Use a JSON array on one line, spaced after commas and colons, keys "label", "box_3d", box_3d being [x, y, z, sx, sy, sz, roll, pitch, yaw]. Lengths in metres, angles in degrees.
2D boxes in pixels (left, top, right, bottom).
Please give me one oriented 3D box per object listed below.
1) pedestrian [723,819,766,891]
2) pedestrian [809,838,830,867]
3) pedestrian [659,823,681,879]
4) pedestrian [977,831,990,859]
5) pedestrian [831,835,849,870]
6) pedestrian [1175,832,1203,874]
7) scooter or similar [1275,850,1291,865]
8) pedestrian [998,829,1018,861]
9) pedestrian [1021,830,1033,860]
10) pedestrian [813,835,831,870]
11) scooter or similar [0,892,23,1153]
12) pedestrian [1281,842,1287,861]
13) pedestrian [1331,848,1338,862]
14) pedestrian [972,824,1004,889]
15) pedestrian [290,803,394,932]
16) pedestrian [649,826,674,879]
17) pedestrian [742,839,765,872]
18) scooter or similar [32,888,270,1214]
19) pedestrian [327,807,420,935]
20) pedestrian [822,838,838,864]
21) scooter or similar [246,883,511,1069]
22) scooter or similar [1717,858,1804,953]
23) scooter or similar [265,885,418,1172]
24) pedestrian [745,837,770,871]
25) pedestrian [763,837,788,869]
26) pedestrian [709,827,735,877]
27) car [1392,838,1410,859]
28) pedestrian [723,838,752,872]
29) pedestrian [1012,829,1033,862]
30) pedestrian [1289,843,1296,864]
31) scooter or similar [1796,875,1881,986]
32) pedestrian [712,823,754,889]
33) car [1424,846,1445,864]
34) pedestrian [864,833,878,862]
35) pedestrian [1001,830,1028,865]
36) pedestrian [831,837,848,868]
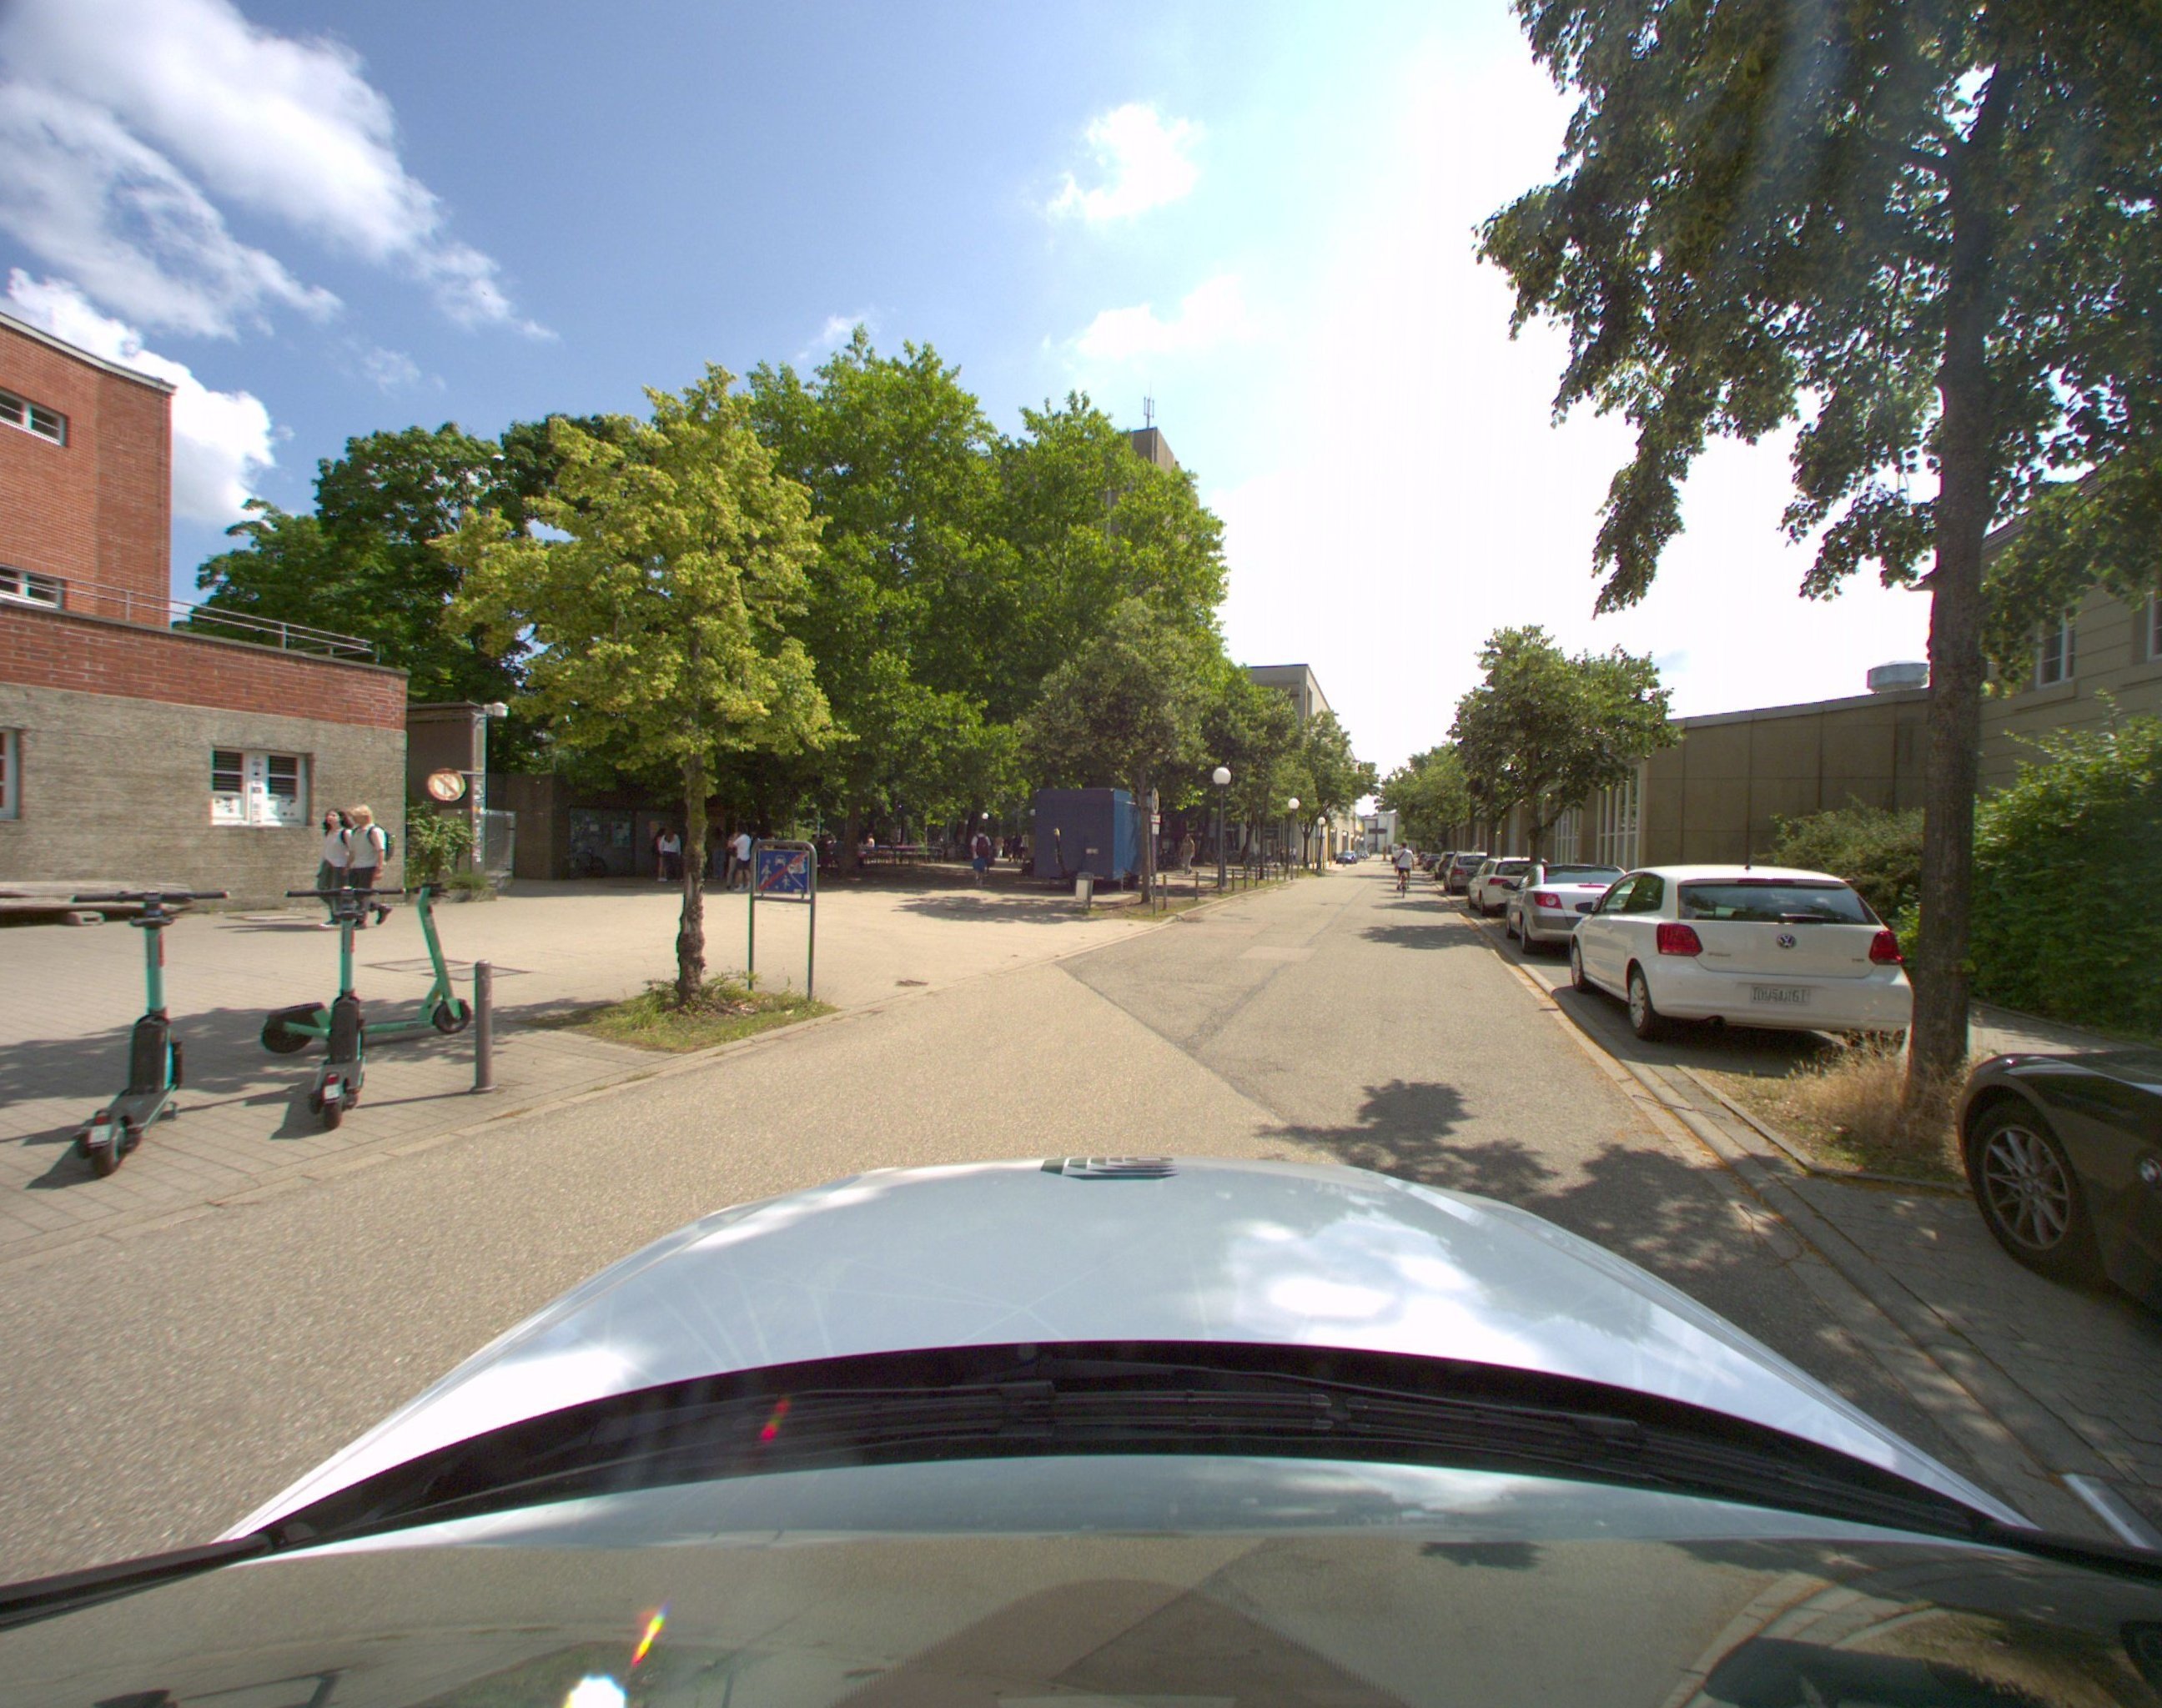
[{"label": "pedestrian", "box_3d": [-8.719, 0.041, 21.102, 0.885, 1.820, 0.444, 3, -2, -41]}, {"label": "pedestrian", "box_3d": [-11.434, -0.072, 35.618, 0.565, 1.250, 0.769, 2, 1, 10]}, {"label": "pedestrian", "box_3d": [-12.649, -0.090, 25.056, 0.531, 1.710, 0.445, 2, 2, -23]}, {"label": "pedestrian", "box_3d": [-5.898, -0.563, 49.295, 0.628, 1.670, 0.730, 2, 1, 0]}, {"label": "pedestrian", "box_3d": [-9.683, -0.067, 32.696, 0.594, 1.369, 0.740, 1, 3, -13]}, {"label": "pedestrian", "box_3d": [5.172, -0.040, 39.059, 0.909, 1.954, 0.897, 4, 1, 31]}, {"label": "scooter or similar", "box_3d": [15.947, 0.277, 64.250, 1.333, 1.175, 0.336, 1, 1, -34]}, {"label": "pedestrian", "box_3d": [-4.543, -0.548, 50.515, 0.825, 1.948, 0.844, 3, 1, -31]}, {"label": "pedestrian", "box_3d": [-3.542, -0.582, 53.237, 0.591, 1.904, 0.513, 1, 1, -25]}, {"label": "pedestrian", "box_3d": [-10.474, -0.049, 32.920, 0.594, 1.369, 0.701, 1, 3, -13]}, {"label": "scooter or similar", "box_3d": [-5.022, 0.819, 3.313, 0.573, 1.225, 1.556, 1, 1, -41]}, {"label": "pedestrian", "box_3d": [19.485, -0.227, 78.157, 0.441, 1.775, 0.450, 1, 1, -9]}, {"label": "pedestrian", "box_3d": [31.497, 0.118, 101.261, 0.645, 1.701, 0.892, 2, 1, 11]}, {"label": "pedestrian", "box_3d": [-2.711, 0.062, 23.589, 0.851, 1.835, 0.876, 2, 2, -9]}, {"label": "pedestrian", "box_3d": [-10.691, 0.178, 11.801, 0.571, 1.779, 0.922, 1, 0, 21]}, {"label": "pedestrian", "box_3d": [-13.093, -0.047, 25.406, 0.606, 1.593, 0.410, 2, 2, -20]}, {"label": "pedestrian", "box_3d": [-13.288, 0.068, 33.008, 0.639, 1.323, 0.562, 1, 1, 23]}, {"label": "scooter or similar", "box_3d": [-4.525, 0.828, 4.062, 0.568, 1.225, 1.556, 1, 1, -41]}, {"label": "pedestrian", "box_3d": [-10.092, 0.228, 11.631, 0.558, 1.762, 0.810, 1, 0, 21]}, {"label": "pedestrian", "box_3d": [-11.753, -0.167, 38.171, 0.388, 1.194, 0.733, 2, 1, 12]}, {"label": "scooter or similar", "box_3d": [-5.101, 0.816, 5.993, 0.558, 1.149, 1.358, 2, 0, 33]}, {"label": "scooter or similar", "box_3d": [9.869, 0.720, 11.822, 1.270, 1.266, 0.591, -1, 2, -32]}, {"label": "scooter or similar", "box_3d": [-4.032, 0.826, 4.479, 0.527, 1.225, 1.556, 1, 1, -41]}, {"label": "pedestrian", "box_3d": [-12.578, -0.002, 31.653, 0.555, 1.271, 0.697, 2, 1, 22]}, {"label": "pedestrian", "box_3d": [-12.205, -0.043, 32.558, 0.555, 1.271, 0.697, 2, 1, 22]}, {"label": "pedestrian", "box_3d": [-12.079, -0.073, 27.405, 0.678, 1.650, 0.500, 2, 2, -18]}, {"label": "car", "box_3d": [41.602, -0.709, 105.884, 2.066, 2.539, 4.338, 2, 1, 21]}, {"label": "pedestrian", "box_3d": [-13.501, 0.041, 32.011, 0.681, 1.323, 0.783, 1, 1, 23]}, {"label": "pedestrian", "box_3d": [-3.645, -0.537, 50.983, 0.923, 1.948, 0.883, 3, 1, -31]}, {"label": "pedestrian", "box_3d": [19.940, -0.073, 76.800, 0.412, 1.941, 0.661, 2, 1, -7]}, {"label": "scooter or similar", "box_3d": [9.240, 0.895, 9.972, 0.515, 1.221, 1.244, 1, 0, 32]}, {"label": "pedestrian", "box_3d": [-9.264, 0.062, 21.694, 0.885, 1.720, 0.484, 3, -2, -41]}, {"label": "car", "box_3d": [31.932, 0.109, 73.688, 1.602, 1.538, 3.800, 2, 1, 22]}, {"label": "pedestrian", "box_3d": [-10.548, -0.317, 40.896, 0.502, 1.422, 0.462, 2, 1, 12]}, {"label": "pedestrian", "box_3d": [-3.822, -0.377, 46.853, 1.128, 1.948, 0.883, 3, 1, -31]}, {"label": "pedestrian", "box_3d": [-9.920, -0.068, 33.420, 0.594, 1.233, 0.740, 1, 3, -13]}]
